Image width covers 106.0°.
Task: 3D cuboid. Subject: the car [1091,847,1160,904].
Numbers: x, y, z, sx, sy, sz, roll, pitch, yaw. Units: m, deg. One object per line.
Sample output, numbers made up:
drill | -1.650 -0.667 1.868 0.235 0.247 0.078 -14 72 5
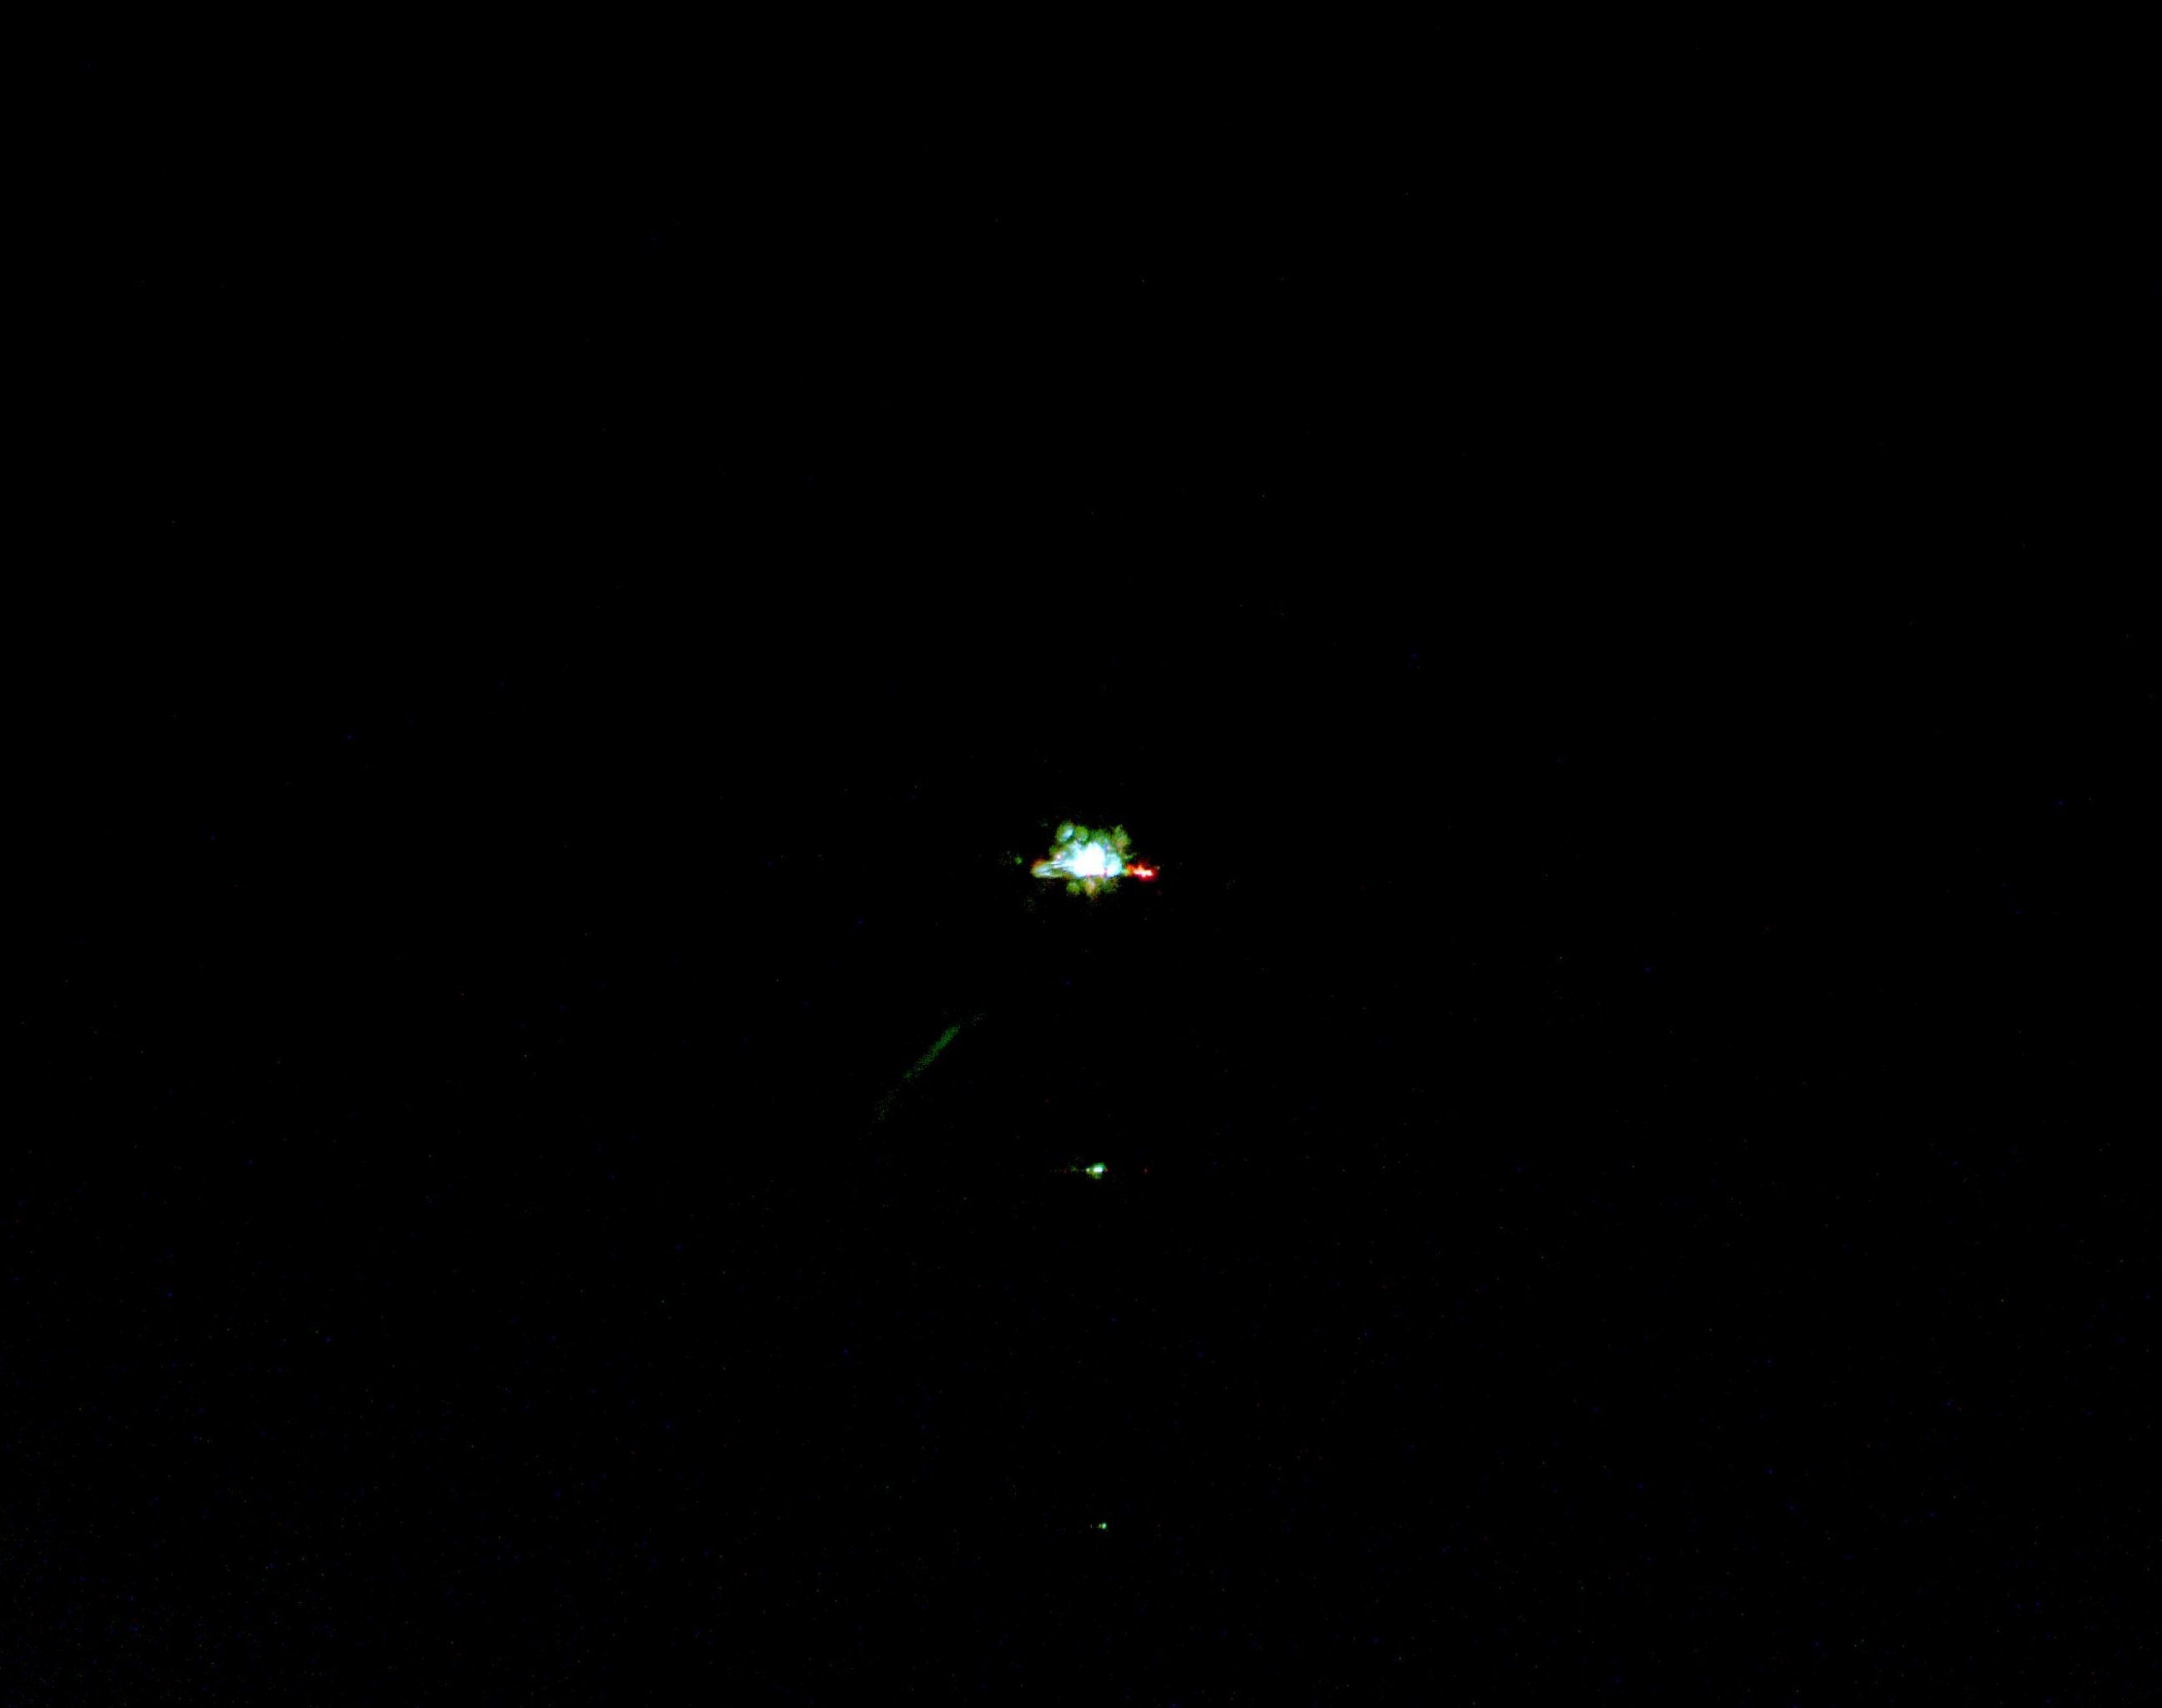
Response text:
car | 1.803 0.898 33.023 2.448 1.958 4.914 -4 -2 3
